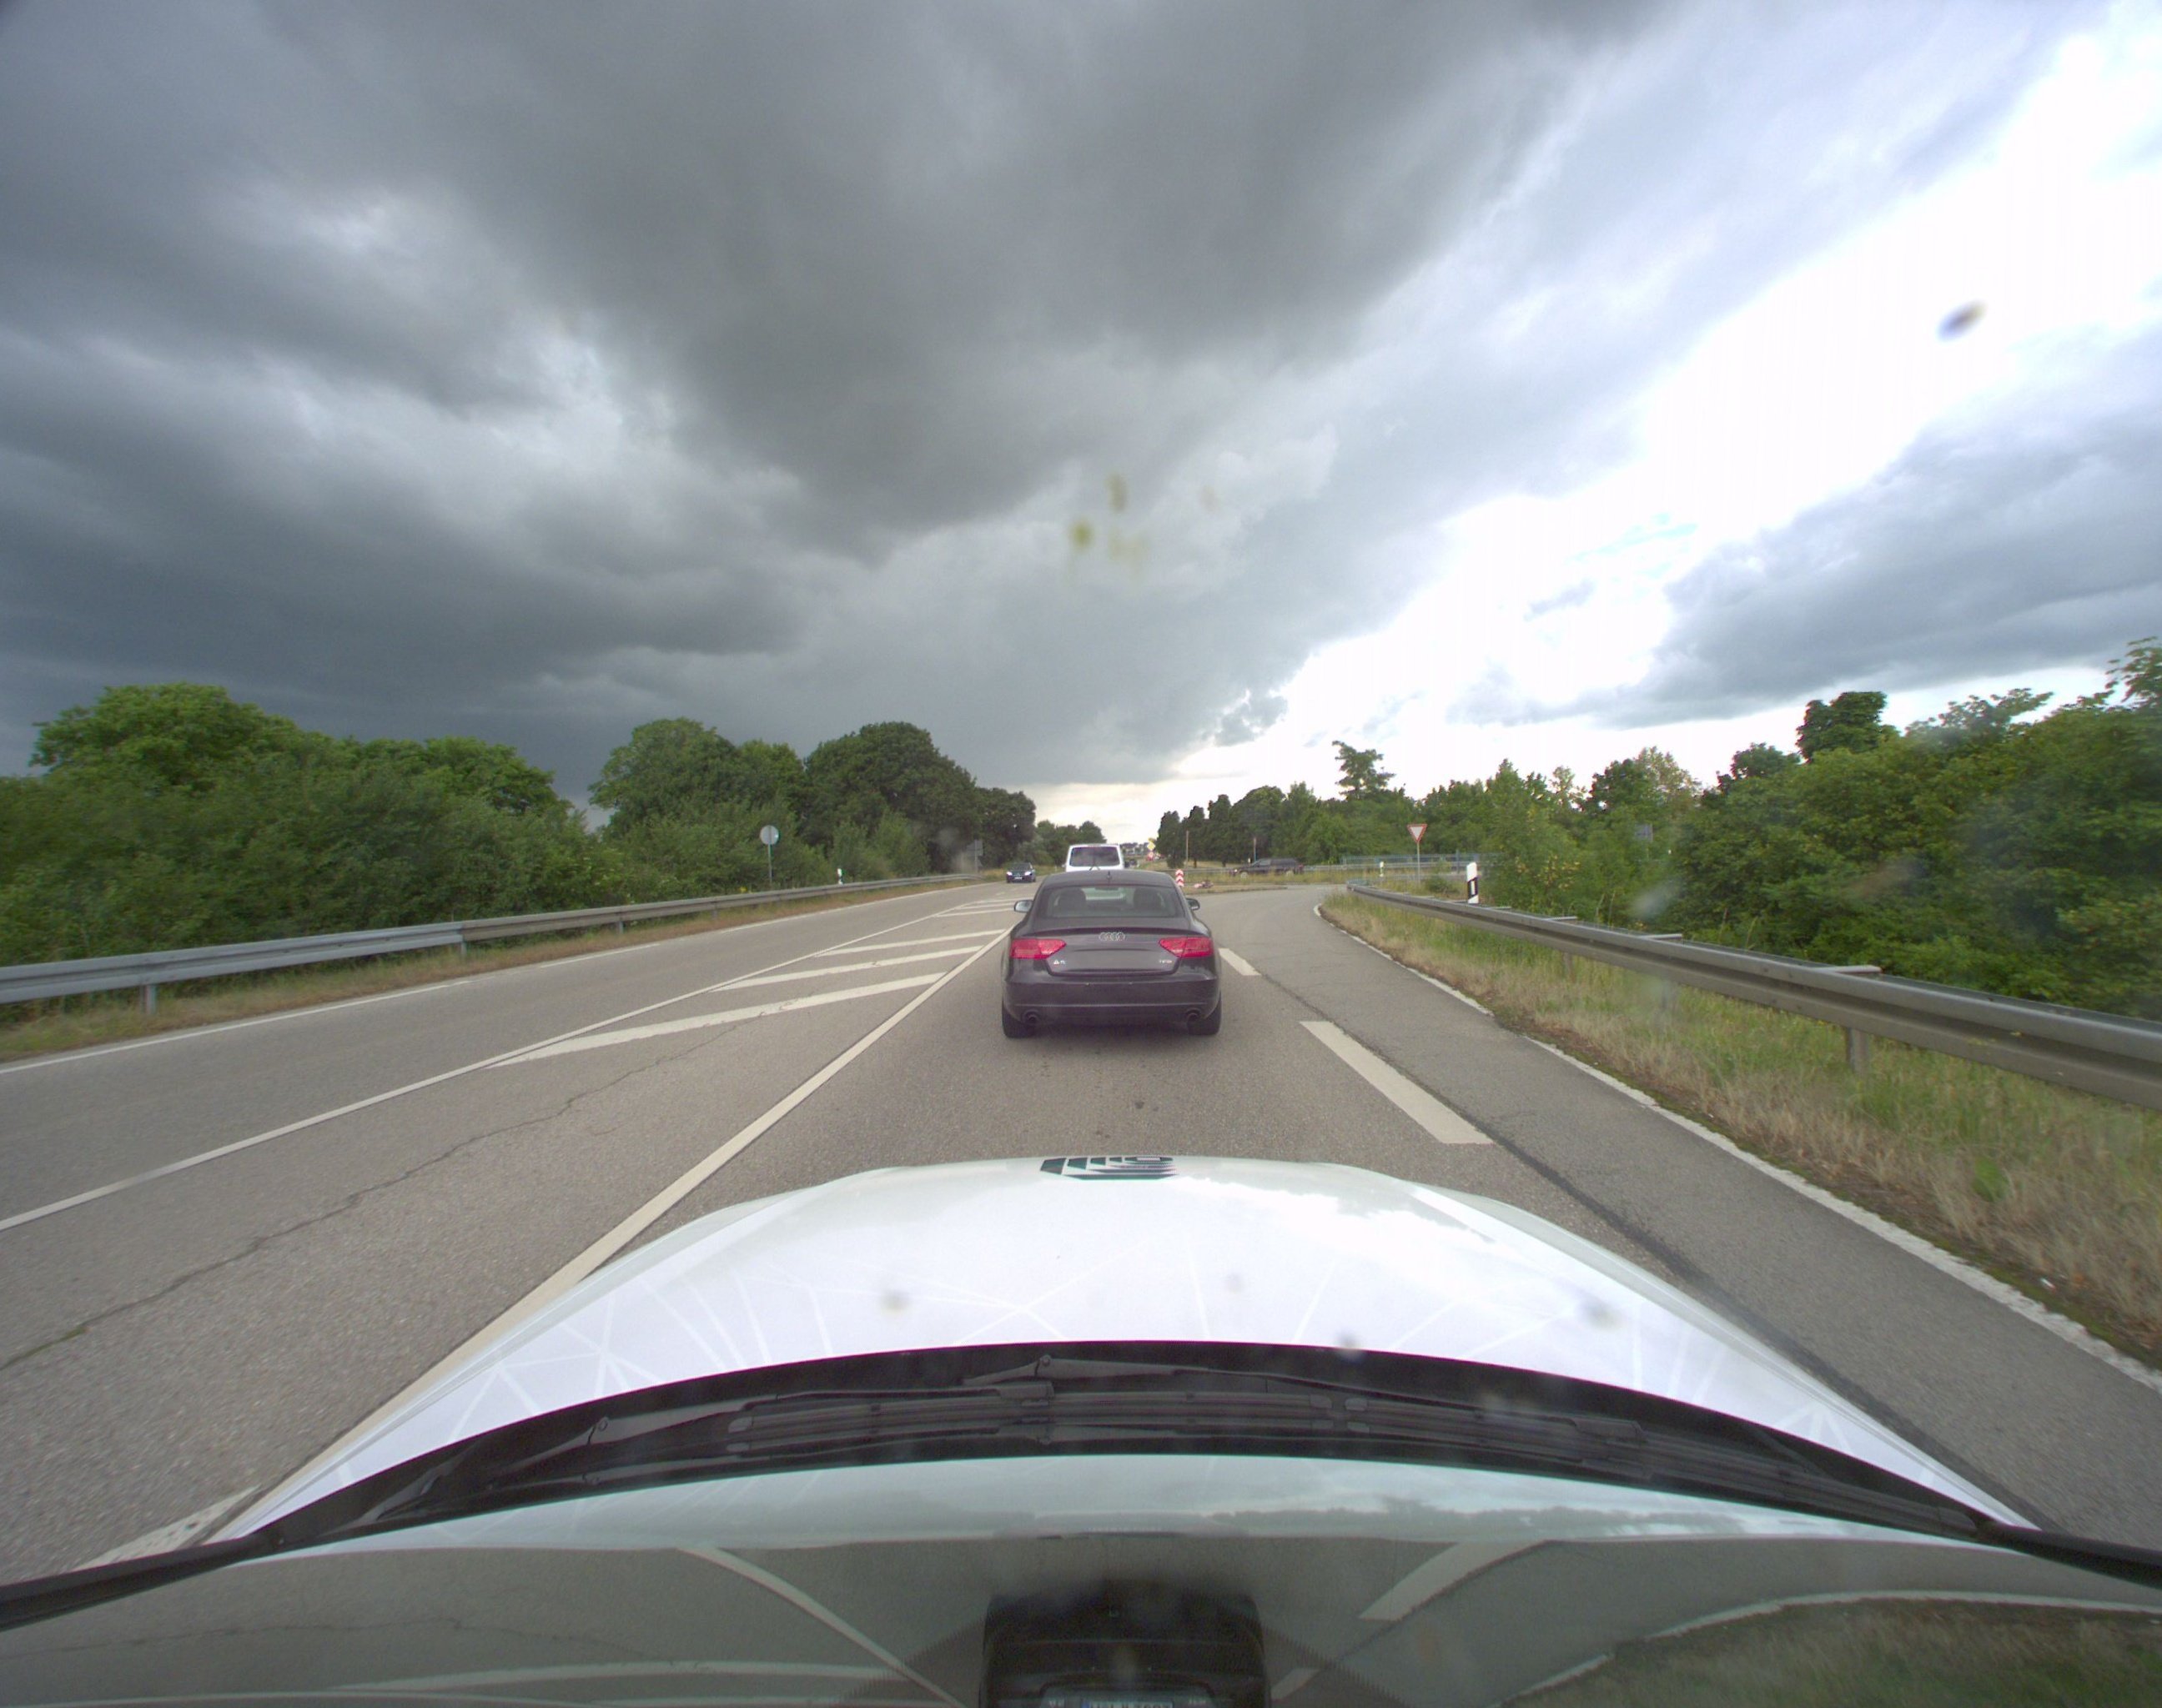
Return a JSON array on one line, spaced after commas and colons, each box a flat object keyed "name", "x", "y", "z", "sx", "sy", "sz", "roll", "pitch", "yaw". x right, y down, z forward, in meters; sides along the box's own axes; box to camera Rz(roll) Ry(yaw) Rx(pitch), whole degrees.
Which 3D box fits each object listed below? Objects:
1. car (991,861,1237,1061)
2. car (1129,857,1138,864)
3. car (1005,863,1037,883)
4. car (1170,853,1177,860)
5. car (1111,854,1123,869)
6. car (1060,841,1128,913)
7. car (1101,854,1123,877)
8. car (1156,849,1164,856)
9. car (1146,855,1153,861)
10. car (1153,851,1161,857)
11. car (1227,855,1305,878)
[{"name": "car", "x": 0.265, "y": 0.798, "z": 7.628, "sx": 1.773, "sy": 1.398, "sz": 3.337, "roll": -1, "pitch": 0, "yaw": 1}, {"name": "car", "x": 12.236, "y": 1.563, "z": 190.837, "sx": 1.984, "sy": 1.692, "sz": 4.005, "roll": -1, "pitch": 0, "yaw": 5}, {"name": "car", "x": -4.346, "y": 1.368, "z": 59.345, "sx": 1.789, "sy": 1.398, "sz": 3.487, "roll": -1, "pitch": 0, "yaw": 4}, {"name": "car", "x": 25.540, "y": 0.724, "z": 224.233, "sx": 1.865, "sy": 1.692, "sz": 4.008, "roll": -1, "pitch": 0, "yaw": 7}, {"name": "car", "x": 6.081, "y": 1.224, "z": 135.972, "sx": 1.985, "sy": 2.408, "sz": 4.003, "roll": 0, "pitch": 0, "yaw": 3}, {"name": "car", "x": 0.404, "y": 0.652, "z": 25.054, "sx": 1.903, "sy": 2.013, "sz": 4.001, "roll": -1, "pitch": 0, "yaw": 1}, {"name": "car", "x": 3.048, "y": 1.098, "z": 79.254, "sx": 2.072, "sy": 2.064, "sz": 4.880, "roll": -1, "pitch": 0, "yaw": 3}, {"name": "car", "x": 20.650, "y": -0.409, "z": 212.364, "sx": 1.985, "sy": 2.013, "sz": 4.004, "roll": -1, "pitch": 0, "yaw": 4}, {"name": "car", "x": 21.000, "y": 1.160, "z": 249.842, "sx": 1.985, "sy": 1.692, "sz": 4.004, "roll": -1, "pitch": 0, "yaw": 4}, {"name": "car", "x": 21.629, "y": 0.083, "z": 231.343, "sx": 1.985, "sy": 1.692, "sz": 4.004, "roll": -1, "pitch": 0, "yaw": 4}, {"name": "car", "x": 11.539, "y": 0.778, "z": 50.787, "sx": 4.528, "sy": 1.333, "sz": 1.710, "roll": -1, "pitch": 0, "yaw": 18}]
